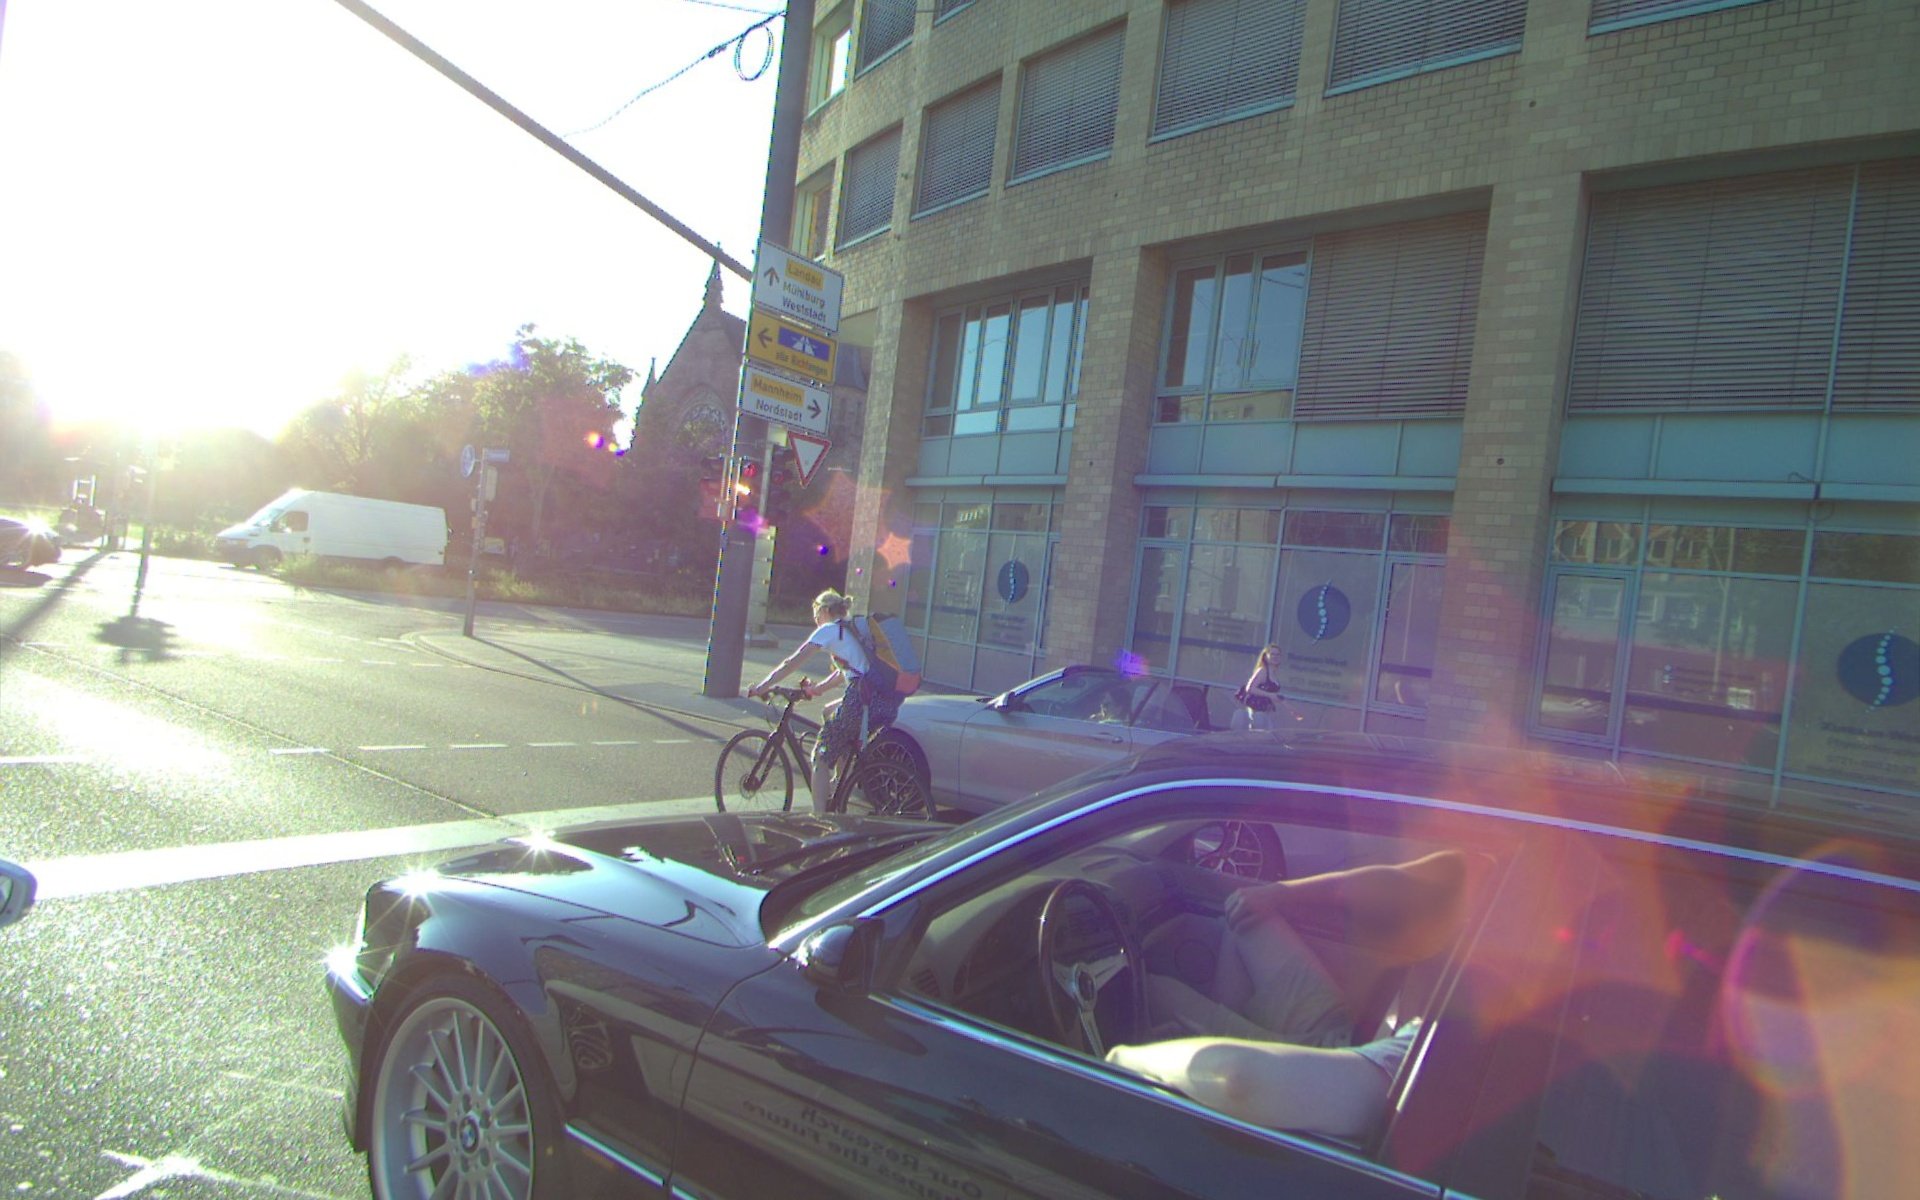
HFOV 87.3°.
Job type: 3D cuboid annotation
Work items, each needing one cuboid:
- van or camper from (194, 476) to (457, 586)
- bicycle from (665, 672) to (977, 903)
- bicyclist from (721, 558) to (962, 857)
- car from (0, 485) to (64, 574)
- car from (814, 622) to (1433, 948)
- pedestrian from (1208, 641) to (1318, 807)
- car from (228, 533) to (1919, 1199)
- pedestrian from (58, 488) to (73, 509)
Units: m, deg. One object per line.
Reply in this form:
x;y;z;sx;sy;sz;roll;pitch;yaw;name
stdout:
-21.560;-2.248;34.635;2.556;2.708;7.048;9;1;33;van or camper
-0.840;1.026;5.868;1.745;0.966;0.516;7;-1;29;bicycle
-0.684;0.587;5.834;1.020;1.501;0.657;7;-1;29;bicyclist
-18.367;-1.505;17.347;1.691;1.451;3.990;9;-1;36;car
1.151;1.179;7.714;4.195;1.370;1.786;8;0;31;car
3.226;1.286;10.691;0.786;1.589;0.678;9;2;29;pedestrian
0.809;0.879;1.917;4.563;1.370;1.833;8;0;31;car
-79.952;-9.095;89.918;0.795;1.722;0.790;6;1;-44;pedestrian
